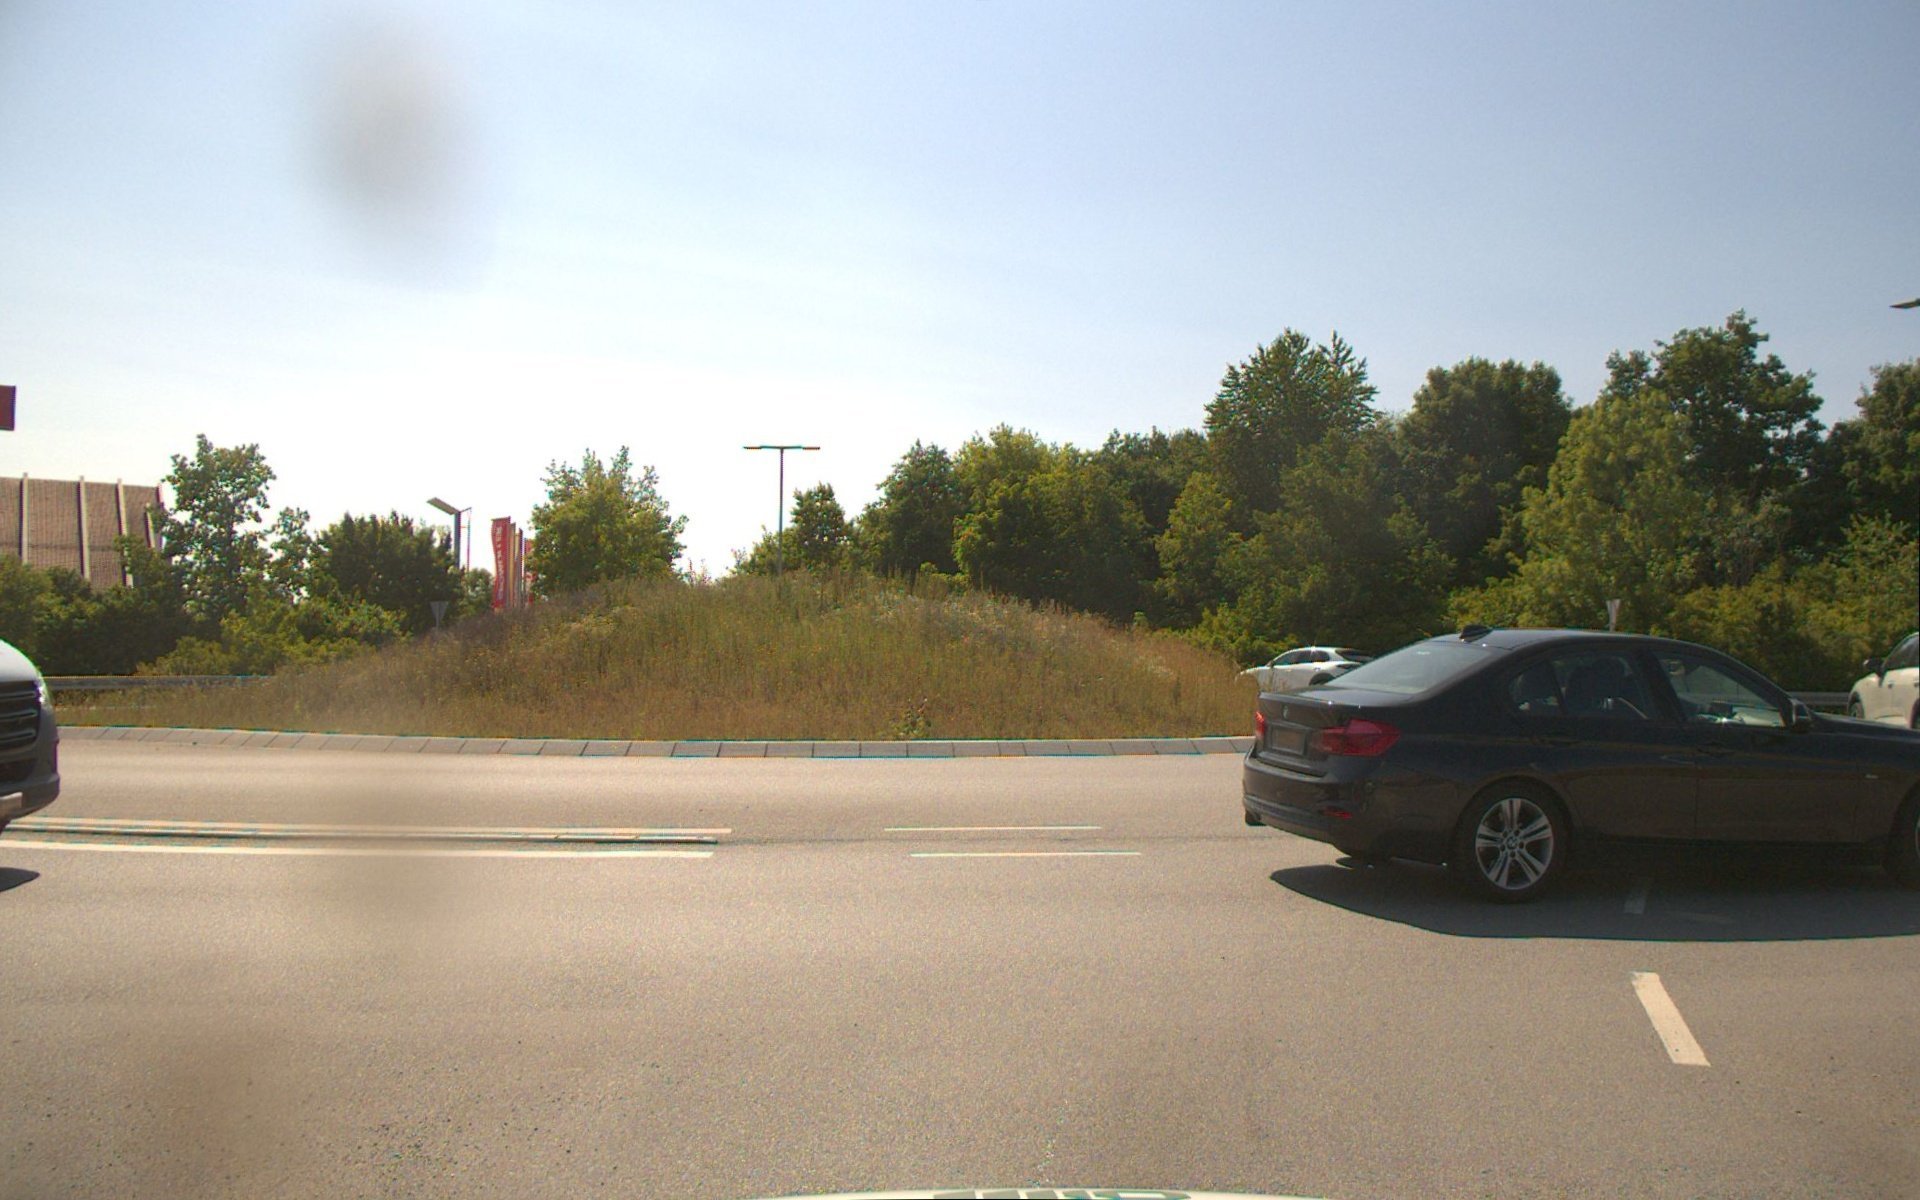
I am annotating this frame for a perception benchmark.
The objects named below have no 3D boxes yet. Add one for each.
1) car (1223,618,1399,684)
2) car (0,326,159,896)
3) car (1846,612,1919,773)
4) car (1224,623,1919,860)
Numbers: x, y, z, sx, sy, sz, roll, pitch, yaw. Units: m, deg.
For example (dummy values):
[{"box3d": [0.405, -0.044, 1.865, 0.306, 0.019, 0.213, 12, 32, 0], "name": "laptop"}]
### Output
[{"box3d": [8.619, 1.300, 40.960, 1.770, 1.557, 4.236, 2, -3, -34], "name": "car"}, {"box3d": [-7.931, 0.007, 9.308, 5.988, 2.972, 2.086, 1, -1, 10], "name": "car"}, {"box3d": [10.986, 0.958, 17.777, 1.802, 1.624, 4.327, 0, -1, 18], "name": "car"}, {"box3d": [3.625, 0.782, 9.620, 3.783, 1.203, 1.672, 2, -1, -11], "name": "car"}]
